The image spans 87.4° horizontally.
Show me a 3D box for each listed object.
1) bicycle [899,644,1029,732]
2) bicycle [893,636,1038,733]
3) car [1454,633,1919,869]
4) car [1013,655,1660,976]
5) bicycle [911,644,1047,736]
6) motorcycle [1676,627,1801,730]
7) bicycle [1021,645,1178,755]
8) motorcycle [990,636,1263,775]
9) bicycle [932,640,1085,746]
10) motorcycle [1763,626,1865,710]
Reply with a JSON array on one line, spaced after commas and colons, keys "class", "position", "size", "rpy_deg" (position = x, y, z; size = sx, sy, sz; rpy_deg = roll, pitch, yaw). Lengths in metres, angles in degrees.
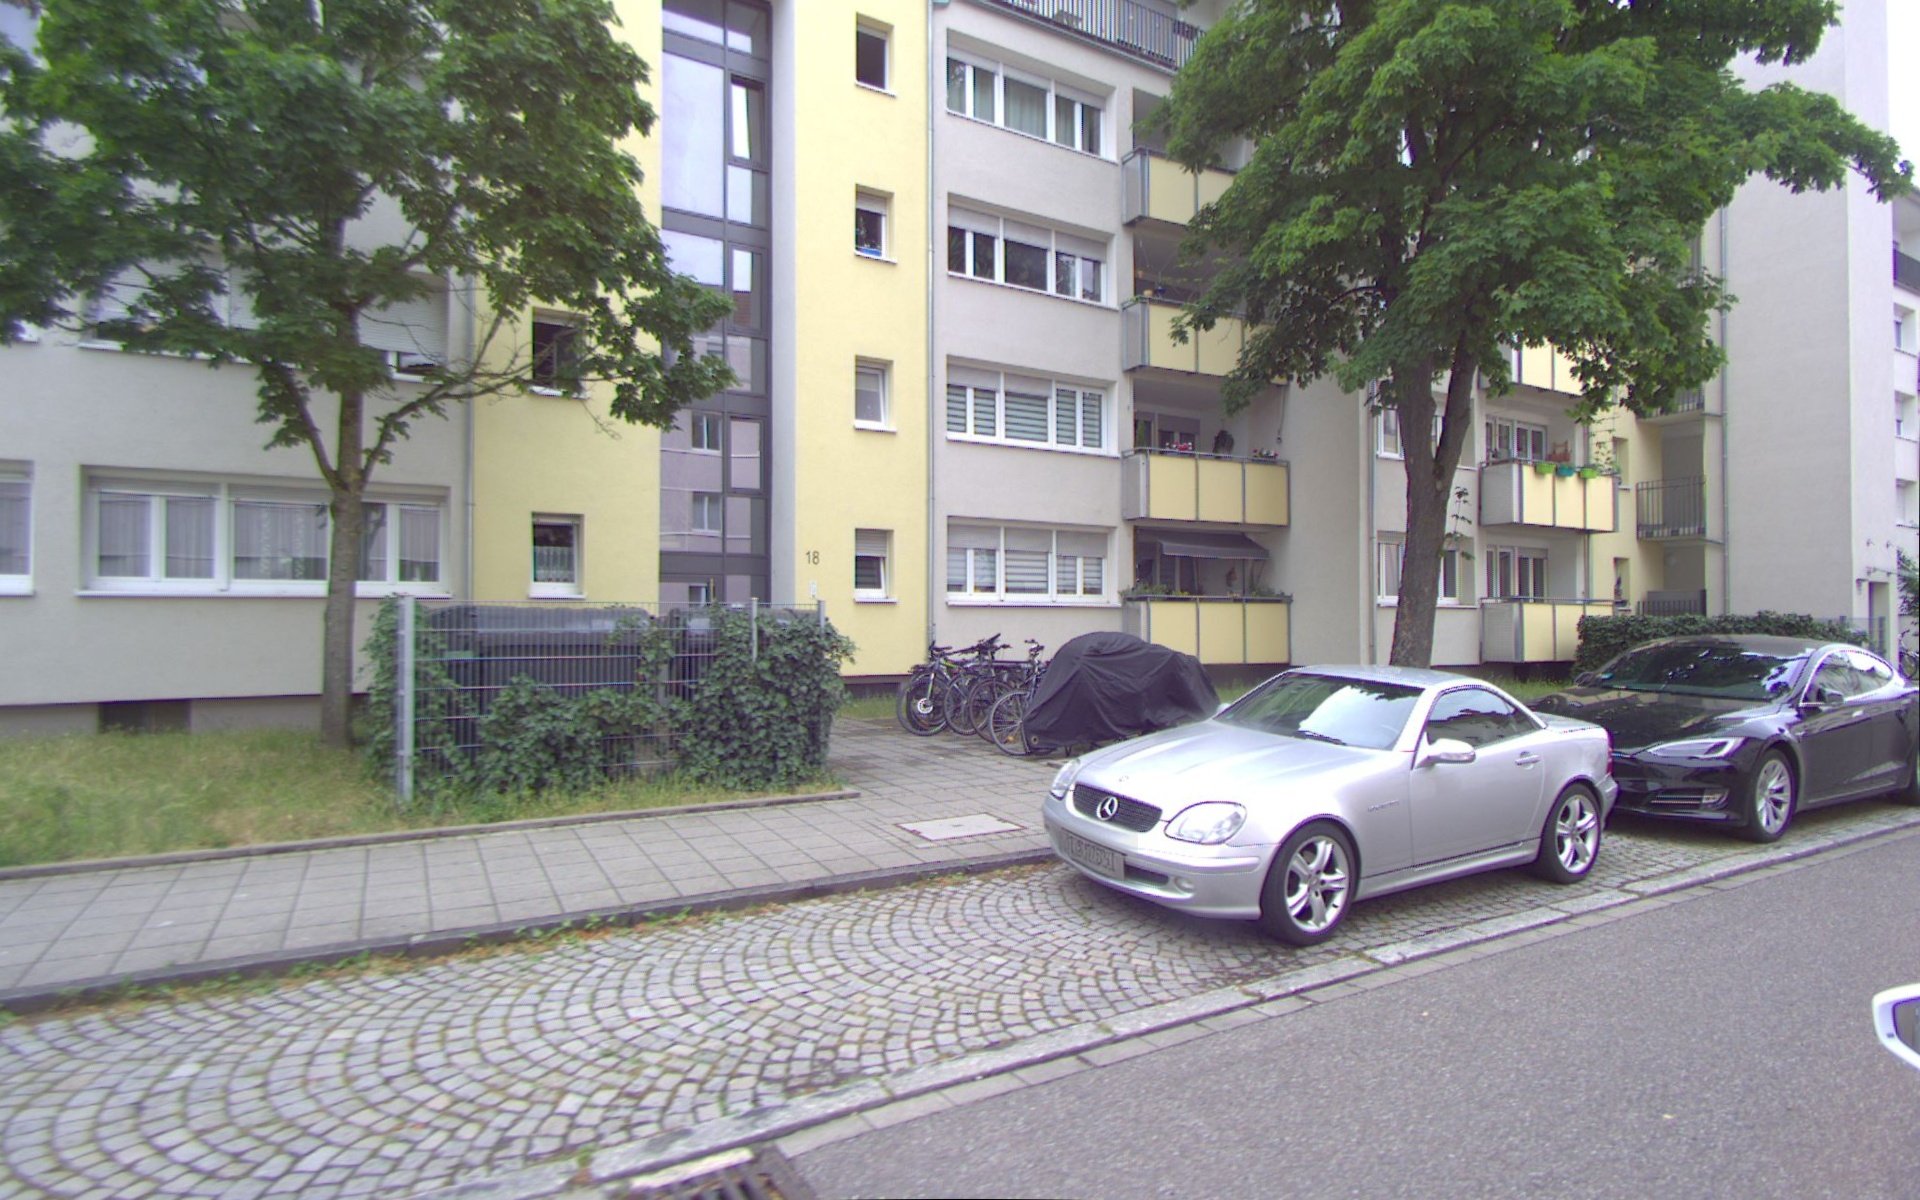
[{"class": "bicycle", "position": [0.071, 1.175, 13.755], "size": [1.753, 1.115, 0.549], "rpy_deg": [1, -1, -30]}, {"class": "bicycle", "position": [0.084, 1.009, 12.398], "size": [1.753, 1.115, 0.549], "rpy_deg": [1, -1, -30]}, {"class": "car", "position": [6.483, 1.062, 8.602], "size": [4.574, 1.440, 1.833], "rpy_deg": [0, 1, -30]}, {"class": "car", "position": [2.448, 1.076, 6.308], "size": [3.968, 1.275, 1.688], "rpy_deg": [0, 0, -30]}, {"class": "bicycle", "position": [0.263, 1.153, 13.187], "size": [1.753, 1.115, 0.549], "rpy_deg": [1, -1, -30]}, {"class": "motorcycle", "position": [11.480, 1.111, 14.788], "size": [2.203, 1.374, 0.674], "rpy_deg": [0, 1, -31]}, {"class": "bicycle", "position": [1.561, 1.069, 11.132], "size": [1.753, 1.115, 0.549], "rpy_deg": [1, -1, -30]}, {"class": "motorcycle", "position": [1.778, 1.021, 10.402], "size": [3.028, 1.239, 0.678], "rpy_deg": [0, -1, -29]}, {"class": "bicycle", "position": [0.570, 1.038, 11.590], "size": [1.753, 1.115, 0.549], "rpy_deg": [1, -1, -30]}, {"class": "motorcycle", "position": [13.698, 1.059, 16.099], "size": [1.812, 1.247, 0.633], "rpy_deg": [0, 3, -30]}]
